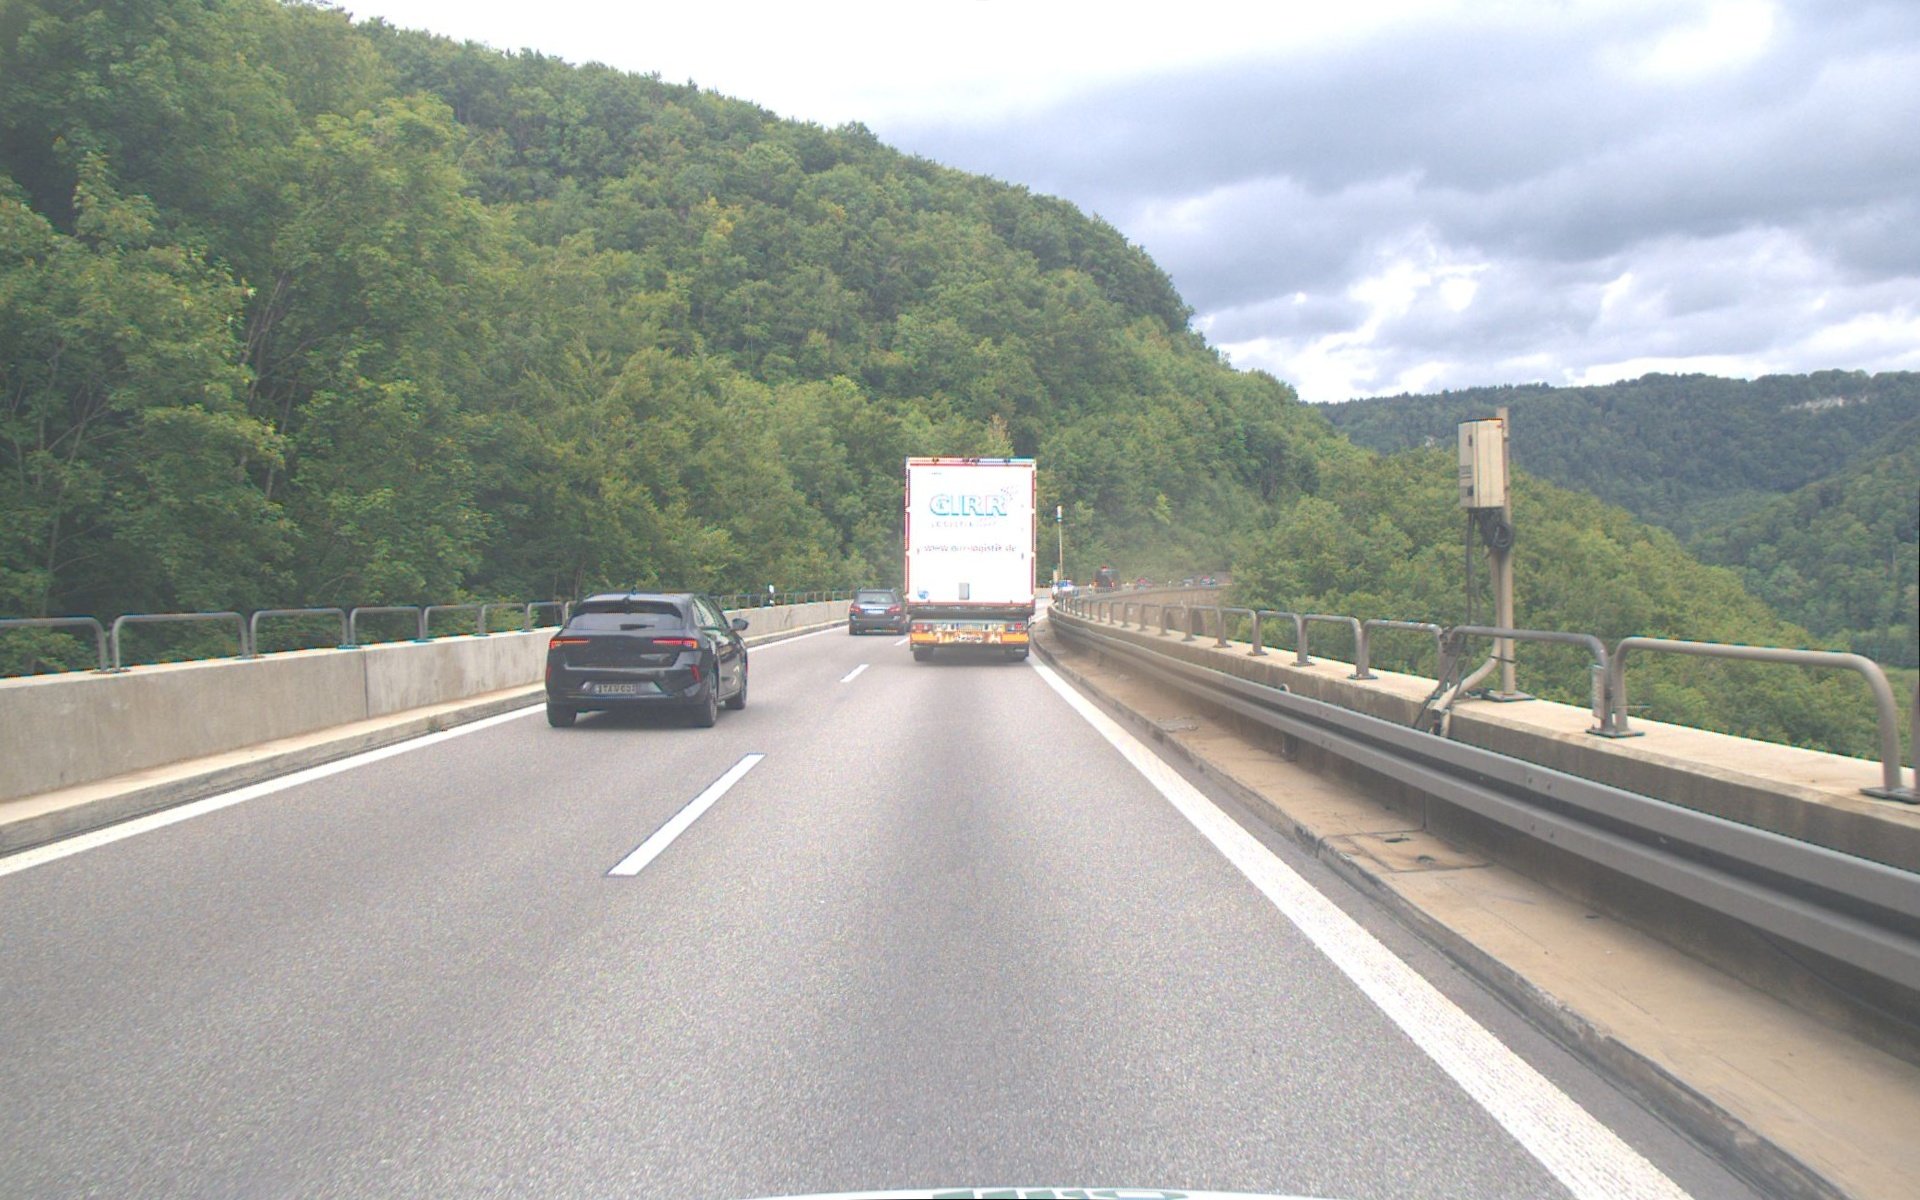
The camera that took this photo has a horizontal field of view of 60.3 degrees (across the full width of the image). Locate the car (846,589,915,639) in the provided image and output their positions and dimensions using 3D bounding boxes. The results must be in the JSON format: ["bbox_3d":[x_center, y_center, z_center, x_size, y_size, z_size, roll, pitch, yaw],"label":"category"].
[{"bbox_3d":[-2.552,0.439,54.076,1.844,1.536,4.420,-1,0,3],"label":"car"}]

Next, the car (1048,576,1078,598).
[{"bbox_3d":[8.947,-1.135,143.556,1.951,1.825,4.003,0,-1,14],"label":"car"}]

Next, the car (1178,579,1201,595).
[{"bbox_3d":[27.308,-1.504,196.604,1.952,1.825,4.001,0,-1,18],"label":"car"}]

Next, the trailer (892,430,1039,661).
[{"bbox_3d":[0.146,-1.021,37.598,2.755,4.378,12.245,-1,0,0],"label":"trailer"}]

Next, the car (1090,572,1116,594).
[{"bbox_3d":[14.464,-1.706,166.979,1.951,2.049,4.003,0,-1,15],"label":"car"}]

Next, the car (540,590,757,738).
[{"bbox_3d":[-3.420,0.632,18.968,1.737,1.486,4.580,0,0,-2],"label":"car"}]
